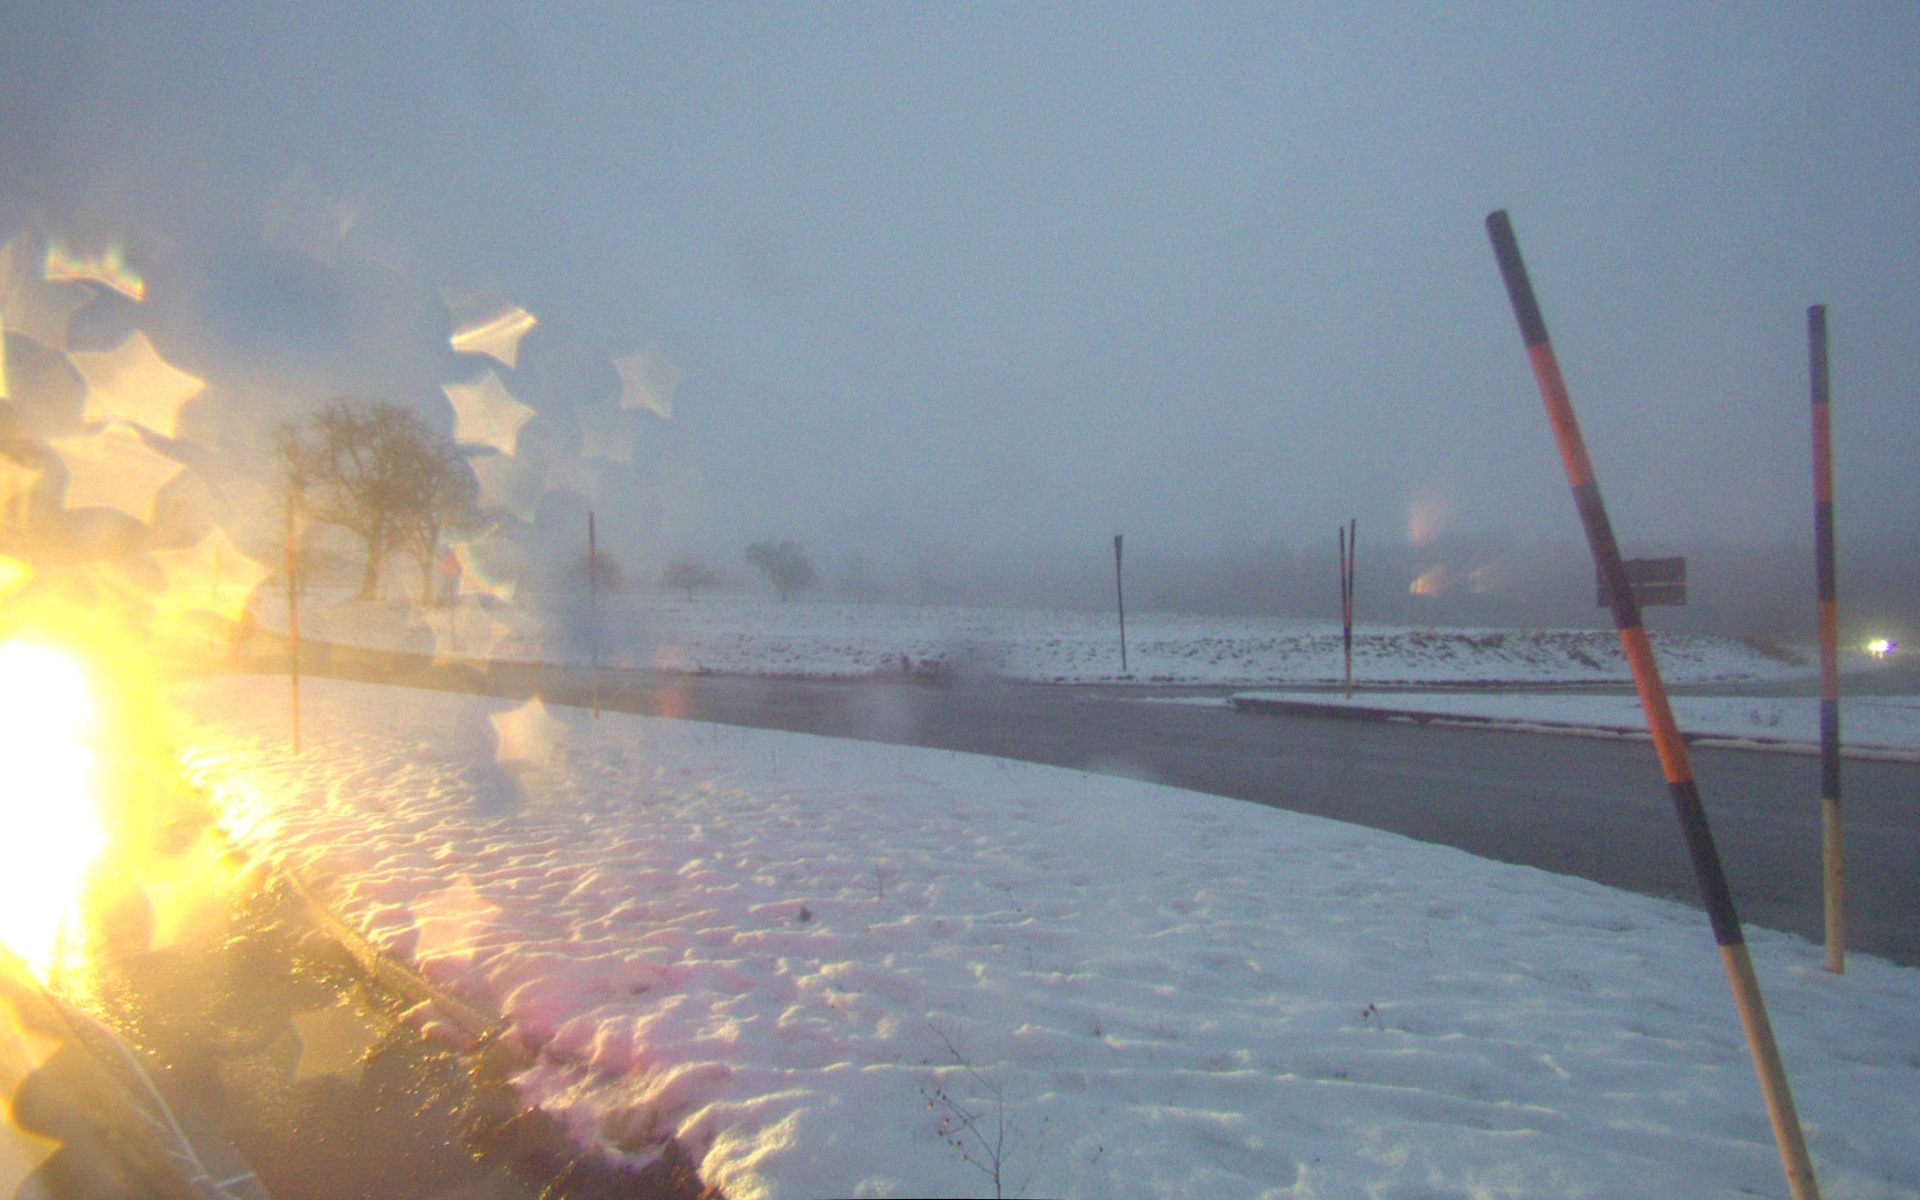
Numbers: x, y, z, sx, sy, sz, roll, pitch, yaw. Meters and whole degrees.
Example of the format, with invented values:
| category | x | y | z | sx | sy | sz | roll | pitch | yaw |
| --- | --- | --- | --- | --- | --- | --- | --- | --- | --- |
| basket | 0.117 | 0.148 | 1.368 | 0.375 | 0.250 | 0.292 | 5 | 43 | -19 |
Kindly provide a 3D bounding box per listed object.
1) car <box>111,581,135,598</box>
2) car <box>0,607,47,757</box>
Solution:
| category | x | y | z | sx | sy | sz | roll | pitch | yaw |
| --- | --- | --- | --- | --- | --- | --- | --- | --- | --- |
| car | -93.639 | -1.195 | 113.211 | 1.969 | 1.820 | 4.006 | -1 | 1 | -41 |
| car | -10.988 | 0.817 | 10.791 | 1.701 | 1.445 | 3.679 | -1 | 0 | -44 |
